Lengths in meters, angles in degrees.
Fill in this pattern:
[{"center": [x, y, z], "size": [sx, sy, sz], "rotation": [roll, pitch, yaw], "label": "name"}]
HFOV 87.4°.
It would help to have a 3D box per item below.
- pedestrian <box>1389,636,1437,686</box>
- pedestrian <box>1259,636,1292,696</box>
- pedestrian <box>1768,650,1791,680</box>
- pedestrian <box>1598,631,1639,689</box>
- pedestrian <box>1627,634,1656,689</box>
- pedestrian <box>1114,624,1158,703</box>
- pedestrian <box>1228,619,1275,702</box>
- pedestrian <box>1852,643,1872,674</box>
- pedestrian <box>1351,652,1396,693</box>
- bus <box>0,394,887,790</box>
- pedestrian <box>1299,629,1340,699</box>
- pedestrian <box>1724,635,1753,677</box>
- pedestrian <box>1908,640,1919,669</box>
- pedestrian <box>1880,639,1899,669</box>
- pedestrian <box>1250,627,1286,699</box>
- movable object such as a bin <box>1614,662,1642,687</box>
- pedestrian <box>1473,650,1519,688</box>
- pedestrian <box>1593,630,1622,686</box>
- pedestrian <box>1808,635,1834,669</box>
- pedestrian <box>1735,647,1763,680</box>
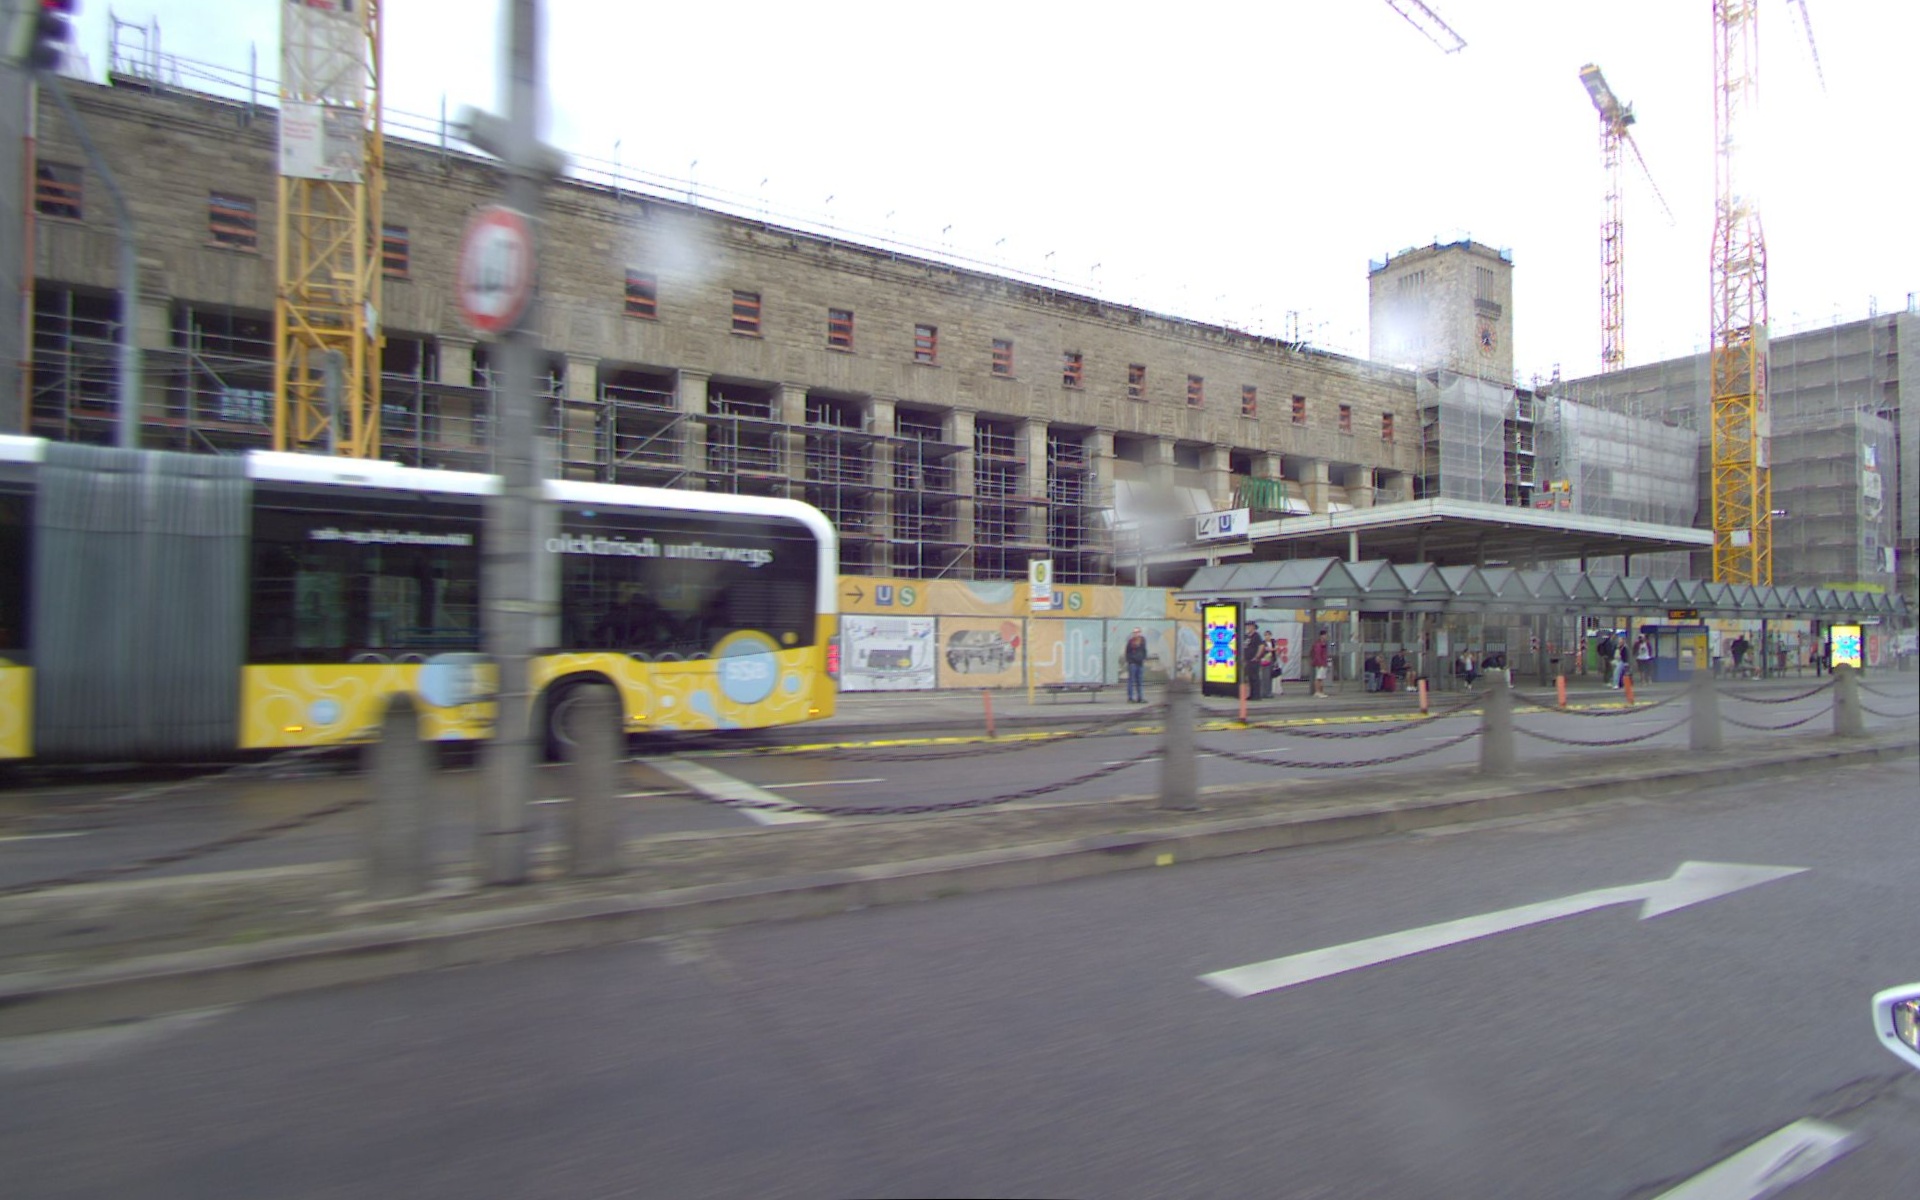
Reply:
[{"center": [13.634, 1.832, 30.256], "size": [0.822, 1.451, 1.049], "rotation": [1, -1, -33], "label": "pedestrian"}, {"center": [8.820, 1.827, 28.084], "size": [0.799, 1.652, 0.551], "rotation": [1, -1, -40], "label": "pedestrian"}, {"center": [44.414, 3.527, 54.430], "size": [0.695, 1.568, 0.797], "rotation": [1, -1, -37], "label": "pedestrian"}, {"center": [20.981, 1.890, 31.992], "size": [0.848, 1.814, 0.773], "rotation": [1, -1, -24], "label": "pedestrian"}, {"center": [23.255, 2.091, 34.278], "size": [0.769, 1.814, 0.671], "rotation": [0, -1, 31], "label": "pedestrian"}, {"center": [4.099, 1.472, 23.443], "size": [0.782, 1.814, 0.698], "rotation": [1, -1, -20], "label": "pedestrian"}, {"center": [7.133, 1.472, 24.621], "size": [0.814, 1.984, 0.754], "rotation": [2, -1, -34], "label": "pedestrian"}, {"center": [54.532, 3.525, 60.727], "size": [0.648, 1.865, 0.739], "rotation": [1, -1, -28], "label": "pedestrian"}, {"center": [11.981, 2.088, 29.126], "size": [0.916, 1.107, 0.839], "rotation": [1, -1, -33], "label": "pedestrian"}, {"center": [-9.834, -0.031, 10.269], "size": [18.854, 3.624, 2.896], "rotation": [2, -3, -31], "label": "bus"}, {"center": [9.468, 1.664, 26.452], "size": [0.741, 1.814, 0.718], "rotation": [1, -1, -37], "label": "pedestrian"}, {"center": [35.040, 2.504, 45.208], "size": [0.689, 1.865, 0.745], "rotation": [1, -1, -12], "label": "pedestrian"}, {"center": [61.882, 3.511, 64.791], "size": [0.857, 1.865, 0.799], "rotation": [1, -1, -28], "label": "pedestrian"}, {"center": [58.154, 3.383, 62.862], "size": [0.604, 1.865, 0.718], "rotation": [1, -1, -28], "label": "pedestrian"}, {"center": [7.939, 1.619, 25.878], "size": [0.799, 1.814, 0.551], "rotation": [1, -1, -40], "label": "pedestrian"}, {"center": [22.540, 2.506, 33.903], "size": [0.621, 0.800, 0.512], "rotation": [0, -2, 13], "label": "movable object such as a bin"}, {"center": [17.552, 2.253, 32.893], "size": [1.043, 1.173, 0.945], "rotation": [1, -1, -31], "label": "pedestrian"}, {"center": [21.894, 1.957, 33.975], "size": [0.664, 1.872, 0.558], "rotation": [0, -1, 14], "label": "pedestrian"}, {"center": [49.175, 2.950, 57.368], "size": [1.033, 1.865, 0.853], "rotation": [1, 0, -32], "label": "pedestrian"}, {"center": [33.129, 2.650, 42.171], "size": [0.797, 1.343, 0.695], "rotation": [1, -1, -33], "label": "pedestrian"}]
